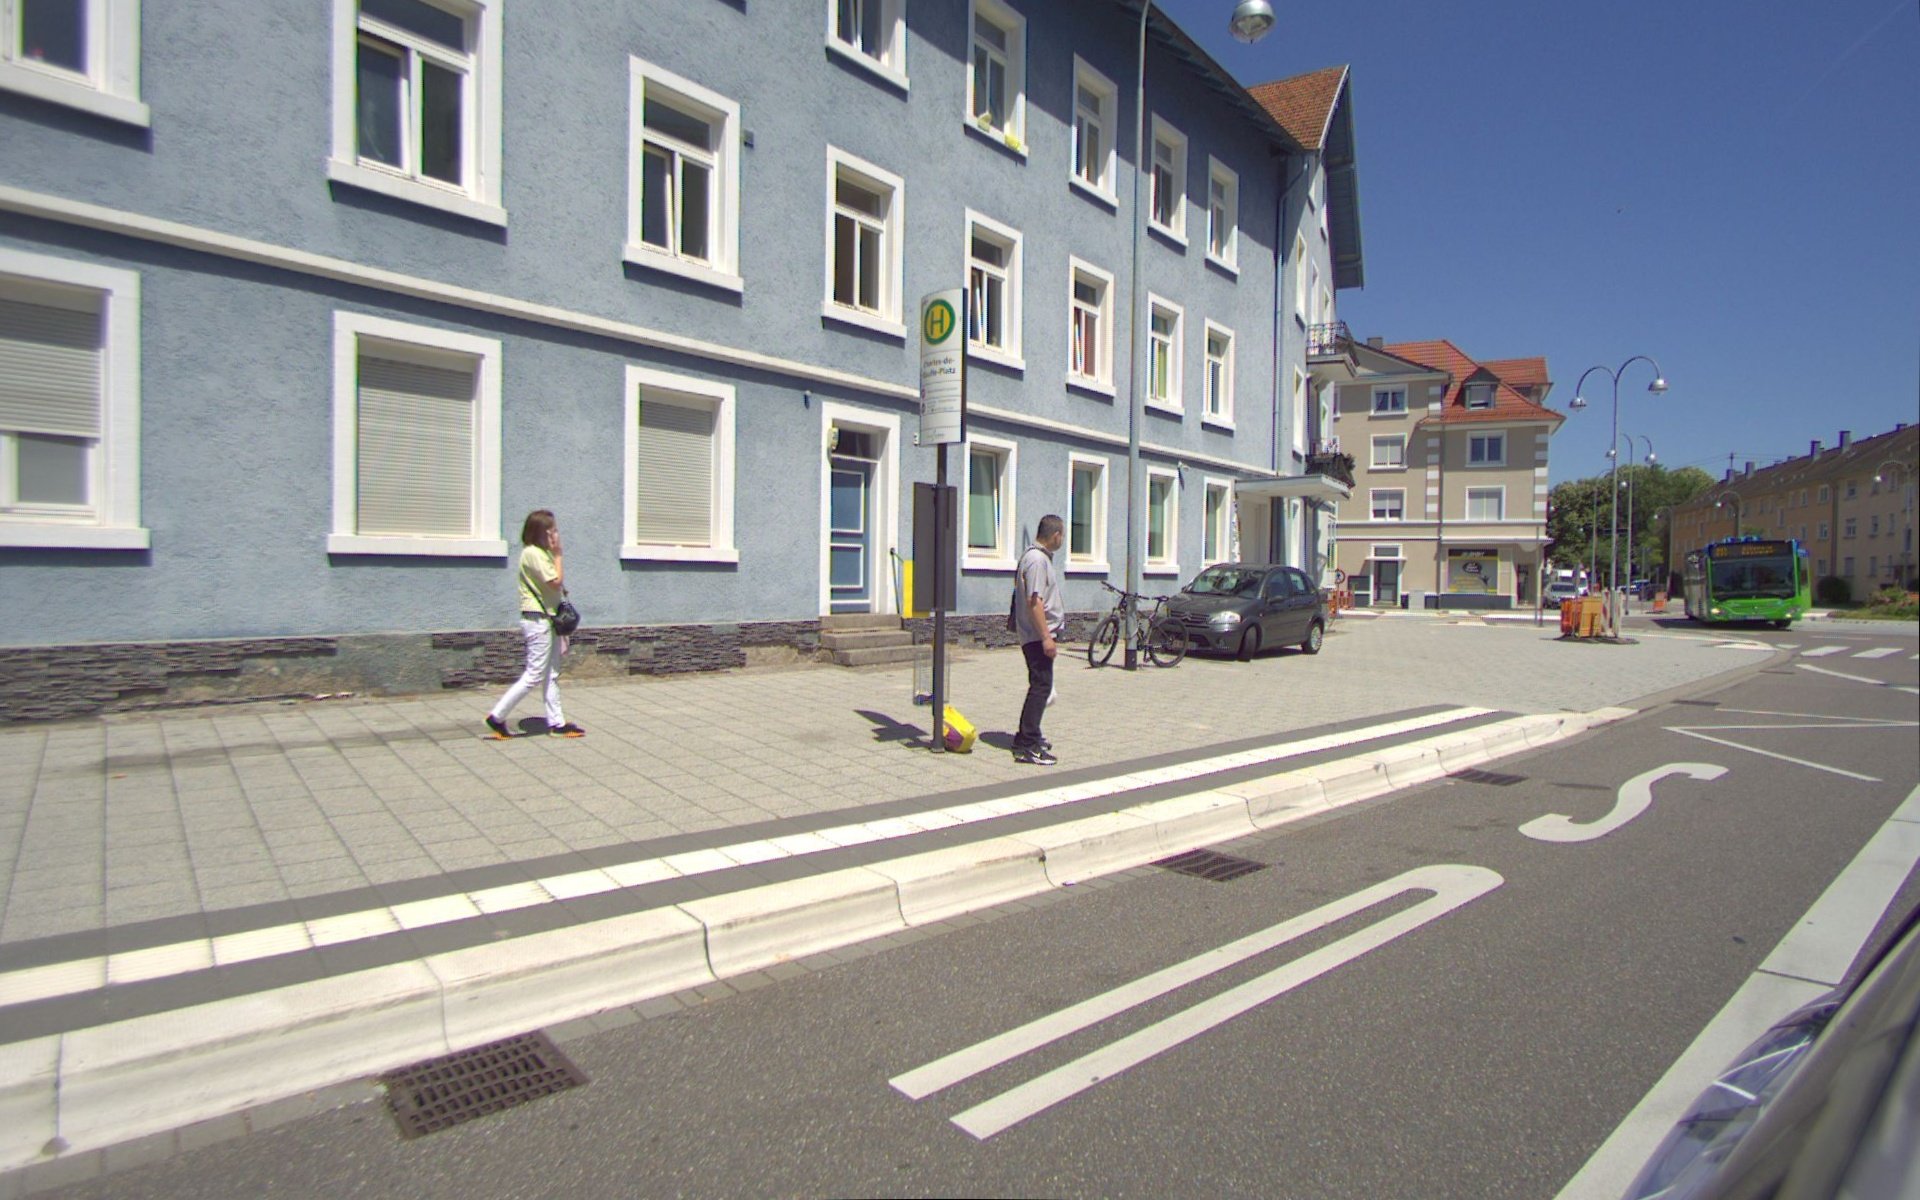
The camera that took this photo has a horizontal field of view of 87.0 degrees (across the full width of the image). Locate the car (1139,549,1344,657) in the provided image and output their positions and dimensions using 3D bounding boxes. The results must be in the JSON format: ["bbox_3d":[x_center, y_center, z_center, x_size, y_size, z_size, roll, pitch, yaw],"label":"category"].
[{"bbox_3d":[4.806,-0.009,17.018,1.759,1.532,3.683,6,5,43],"label":"car"}]

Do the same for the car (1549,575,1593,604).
[{"bbox_3d":[33.843,-0.615,56.159,1.811,1.427,3.962,3,4,28],"label":"car"}]

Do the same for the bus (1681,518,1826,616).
[{"bbox_3d":[29.491,-1.049,38.186,2.890,3.119,12.419,0,0,32],"label":"bus"}]

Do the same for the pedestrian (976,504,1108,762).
[{"bbox_3d":[0.625,0.213,7.693,0.613,1.826,0.740,5,4,38],"label":"pedestrian"}]

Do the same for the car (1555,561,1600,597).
[{"bbox_3d":[45.739,-1.547,75.055,2.320,2.486,5.680,3,2,27],"label":"car"}]

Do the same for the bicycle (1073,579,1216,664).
[{"bbox_3d":[2.478,0.280,13.562,1.845,1.052,0.635,1,4,-28],"label":"bicycle"}]

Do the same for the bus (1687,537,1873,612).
[{"bbox_3d":[37.523,-1.053,46.077,12.318,3.101,2.932,0,0,-33],"label":"bus"}]

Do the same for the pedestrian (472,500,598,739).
[{"bbox_3d":[-3.096,0.119,7.356,0.735,1.635,0.616,1,3,-31],"label":"pedestrian"}]
